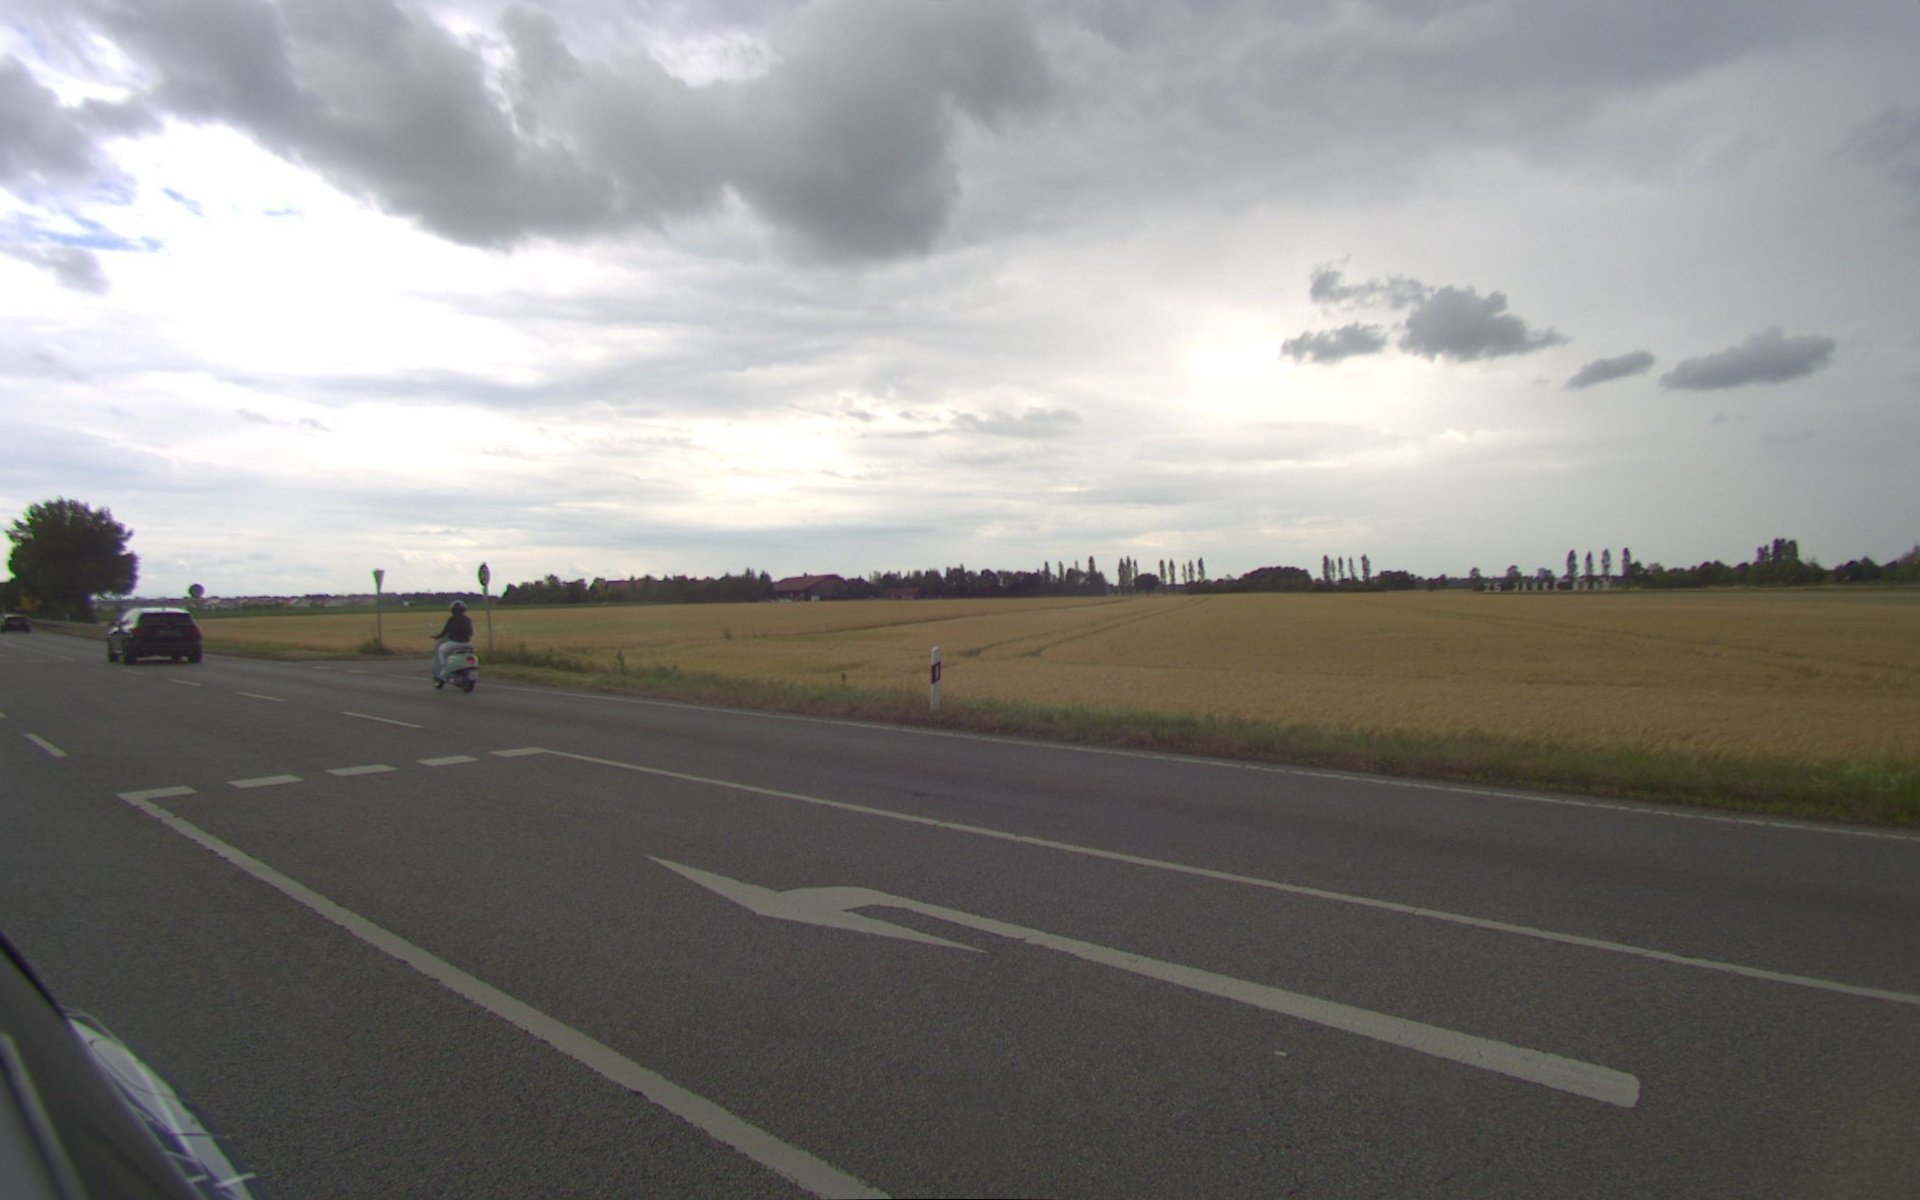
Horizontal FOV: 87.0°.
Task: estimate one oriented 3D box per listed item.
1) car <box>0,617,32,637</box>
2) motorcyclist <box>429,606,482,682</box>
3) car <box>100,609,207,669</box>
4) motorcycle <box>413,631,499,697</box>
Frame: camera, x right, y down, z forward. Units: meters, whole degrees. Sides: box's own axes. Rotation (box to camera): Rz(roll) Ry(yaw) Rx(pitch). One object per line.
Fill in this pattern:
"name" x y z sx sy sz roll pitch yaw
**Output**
"car" -73.534 2.086 78.675 1.970 1.521 4.003 2 -2 -44
"motorcyclist" -9.564 0.811 19.170 0.809 1.394 0.633 -1 -1 40
"car" -24.995 1.148 31.319 4.446 1.707 1.926 -1 -1 43
"motorcycle" -9.558 1.183 19.156 2.023 1.157 0.718 -1 -1 40
